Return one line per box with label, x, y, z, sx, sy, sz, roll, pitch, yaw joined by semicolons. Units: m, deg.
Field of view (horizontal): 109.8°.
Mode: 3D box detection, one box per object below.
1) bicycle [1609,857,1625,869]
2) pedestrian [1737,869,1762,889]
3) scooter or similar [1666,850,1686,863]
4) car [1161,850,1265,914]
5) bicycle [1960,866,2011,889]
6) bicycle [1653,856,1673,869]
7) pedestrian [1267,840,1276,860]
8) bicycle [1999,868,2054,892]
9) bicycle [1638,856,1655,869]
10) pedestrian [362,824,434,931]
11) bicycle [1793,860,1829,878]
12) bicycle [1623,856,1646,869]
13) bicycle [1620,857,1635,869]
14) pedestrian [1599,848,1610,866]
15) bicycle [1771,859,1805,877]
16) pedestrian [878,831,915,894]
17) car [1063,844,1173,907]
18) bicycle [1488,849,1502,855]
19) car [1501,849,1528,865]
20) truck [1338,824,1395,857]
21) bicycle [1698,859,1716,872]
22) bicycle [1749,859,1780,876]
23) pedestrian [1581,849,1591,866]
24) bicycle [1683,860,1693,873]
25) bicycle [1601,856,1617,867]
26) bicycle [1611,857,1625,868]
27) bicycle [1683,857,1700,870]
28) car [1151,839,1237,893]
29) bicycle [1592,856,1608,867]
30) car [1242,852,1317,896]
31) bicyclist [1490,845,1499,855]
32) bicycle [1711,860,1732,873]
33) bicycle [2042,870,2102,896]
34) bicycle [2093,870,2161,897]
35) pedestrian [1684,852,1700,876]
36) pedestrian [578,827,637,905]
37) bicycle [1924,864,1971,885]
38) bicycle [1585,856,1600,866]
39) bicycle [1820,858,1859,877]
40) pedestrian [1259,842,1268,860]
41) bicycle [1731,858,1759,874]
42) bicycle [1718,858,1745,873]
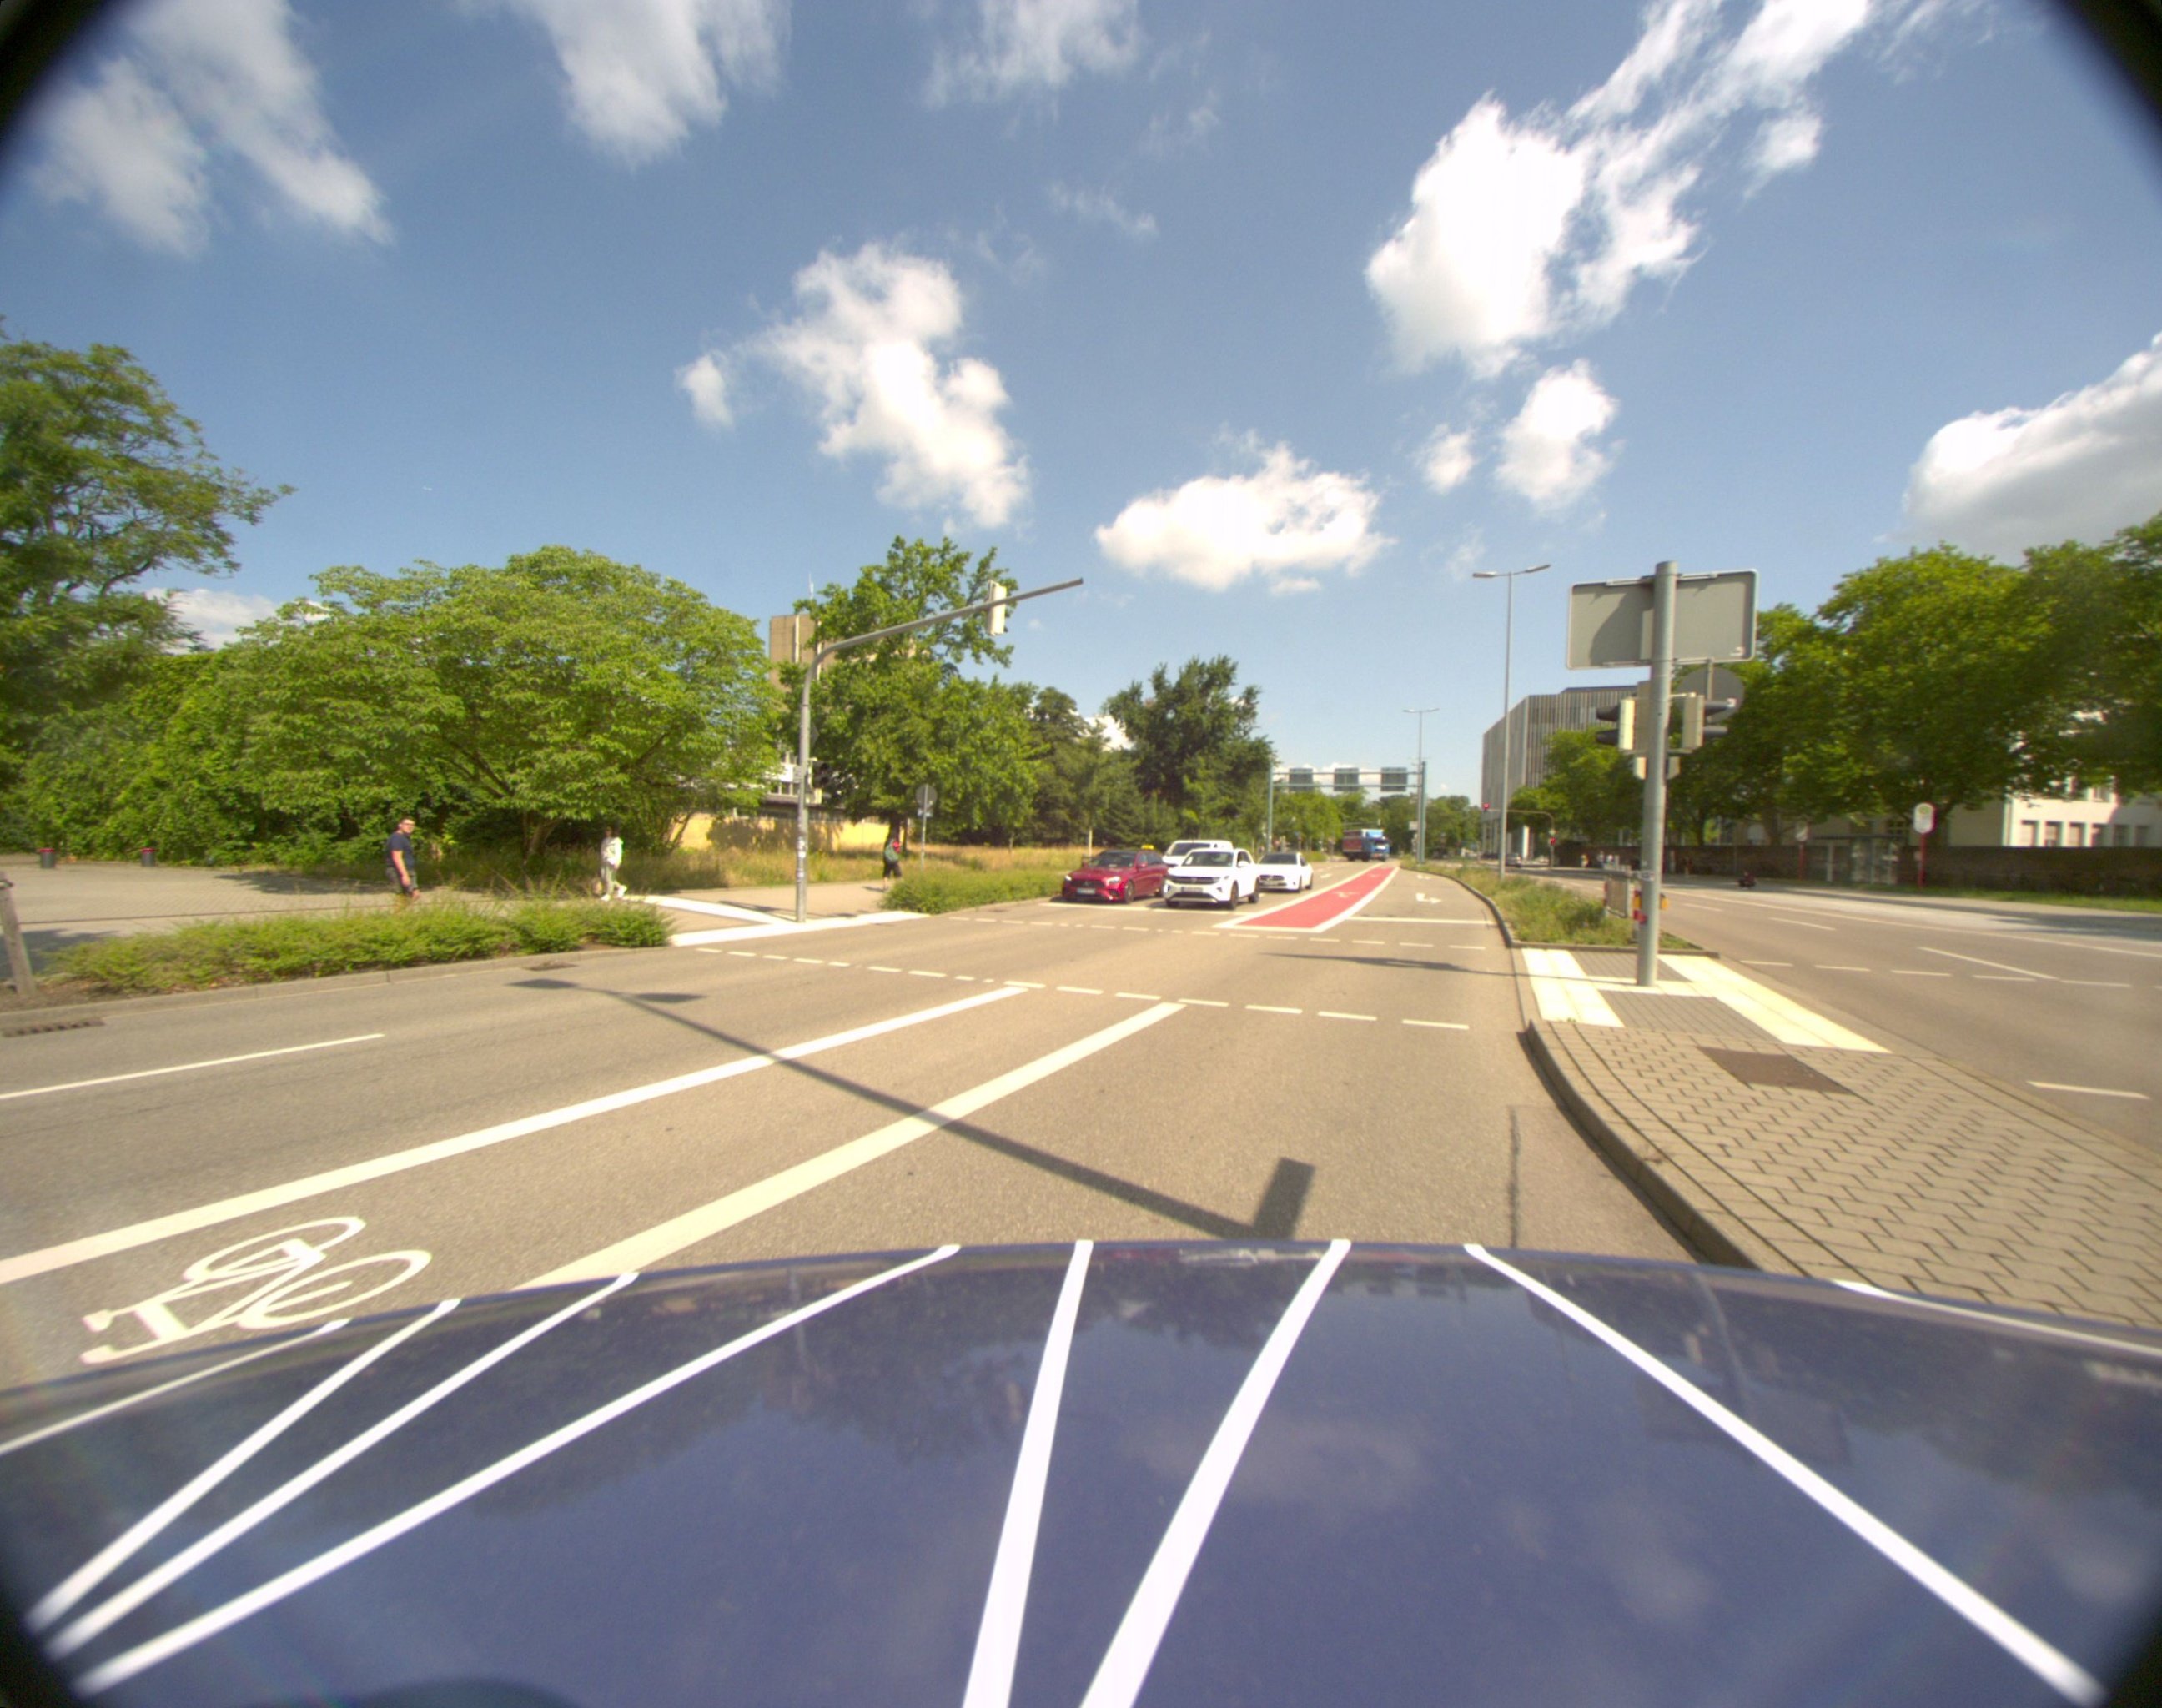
bicycle;49.606;0.812;70.331;0.592;1.042;1.883;2;1;14
pedestrian;33.100;1.238;37.609;0.695;0.957;0.744;1;1;22
scooter or similar;48.456;0.180;61.895;0.581;1.042;1.883;2;1;14
car;3.627;0.661;20.334;1.792;1.530;4.018;0;1;24
bicycle;45.294;1.177;38.078;0.583;1.067;1.631;1;1;2
bicycle;48.833;0.737;63.794;0.581;1.042;1.883;2;1;14
pedestrian;17.372;-0.349;69.286;0.567;1.791;0.640;2;2;23
bicycle;45.228;1.234;36.384;0.583;1.067;1.631;1;1;2
bicycle;49.000;0.718;65.856;0.394;1.042;1.883;2;1;14
pedestrian;-9.953;0.319;11.076;0.770;1.499;0.553;2;2;29
bicycle;45.810;0.906;47.716;0.583;1.067;1.756;1;1;2
bicycle;49.365;0.749;67.751;0.593;1.042;1.880;1;1;-2
bicycle;50.165;0.816;69.765;0.370;1.042;1.883;2;1;14
pedestrian;49.253;0.249;71.449;0.641;1.642;0.732;2;2;18
bicycle;46.192;0.918;49.670;0.583;1.067;1.756;1;1;2
pedestrian;-5.177;0.234;21.343;0.743;1.726;0.680;2;2;27
car;1.195;0.539;22.171;1.682;1.632;4.470;1;1;24
bicycle;61.313;-0.302;112.528;0.639;0.887;1.770;1;1;-35
car;42.847;0.284;75.159;1.701;1.437;4.152;3;2;23
truck;34.978;-1.716;93.451;2.665;3.778;9.183;1;1;-6
bicycle;47.776;0.855;57.974;0.367;0.950;1.403;1;1;8
bicycle;46.425;0.895;51.622;0.583;1.067;1.756;1;1;6
pedestrian;50.477;0.364;75.980;0.561;1.642;0.728;2;2;18
bicycle;47.260;0.951;59.172;0.366;0.950;1.628;2;1;32
bicycle;51.702;0.742;74.419;0.565;1.042;1.883;2;1;14
bicycle;50.775;0.808;71.842;0.370;1.042;1.883;2;1;14
bicycle;48.331;0.766;60.125;0.367;0.950;1.403;1;1;8
car;4.403;0.403;28.972;1.943;1.859;4.833;2;1;25
bicycle;52.189;0.722;76.386;0.630;1.042;1.883;2;1;14
car;7.377;0.655;27.923;1.905;1.416;4.392;2;1;25
bicyclist;61.275;-0.626;112.584;0.633;1.456;0.944;0;2;-35
bicycle;47.441;0.911;56.295;0.370;0.950;1.628;1;1;8
bicycle;45.216;1.315;34.690;0.583;1.067;1.631;1;1;2
bicycle;45.187;1.251;32.812;0.583;1.067;1.871;1;1;6
pedestrian;41.306;0.673;51.357;0.656;1.600;0.746;1;1;24
pedestrian;-10.206;0.246;16.374;0.868;1.629;0.722;2;2;25
bicycle;45.351;1.064;39.787;0.583;1.067;1.631;1;1;2
bicycle;52.869;0.699;78.590;0.630;1.042;1.883;2;1;14
bicycle;45.697;0.811;45.794;0.583;1.067;1.756;1;1;2
pedestrian;16.717;-0.295;69.449;0.623;1.572;0.709;2;2;23
bicycle;46.686;0.862;53.431;0.583;1.067;1.756;1;1;8
bicycle;46.965;0.810;54.859;0.583;1.067;1.756;1;1;8
